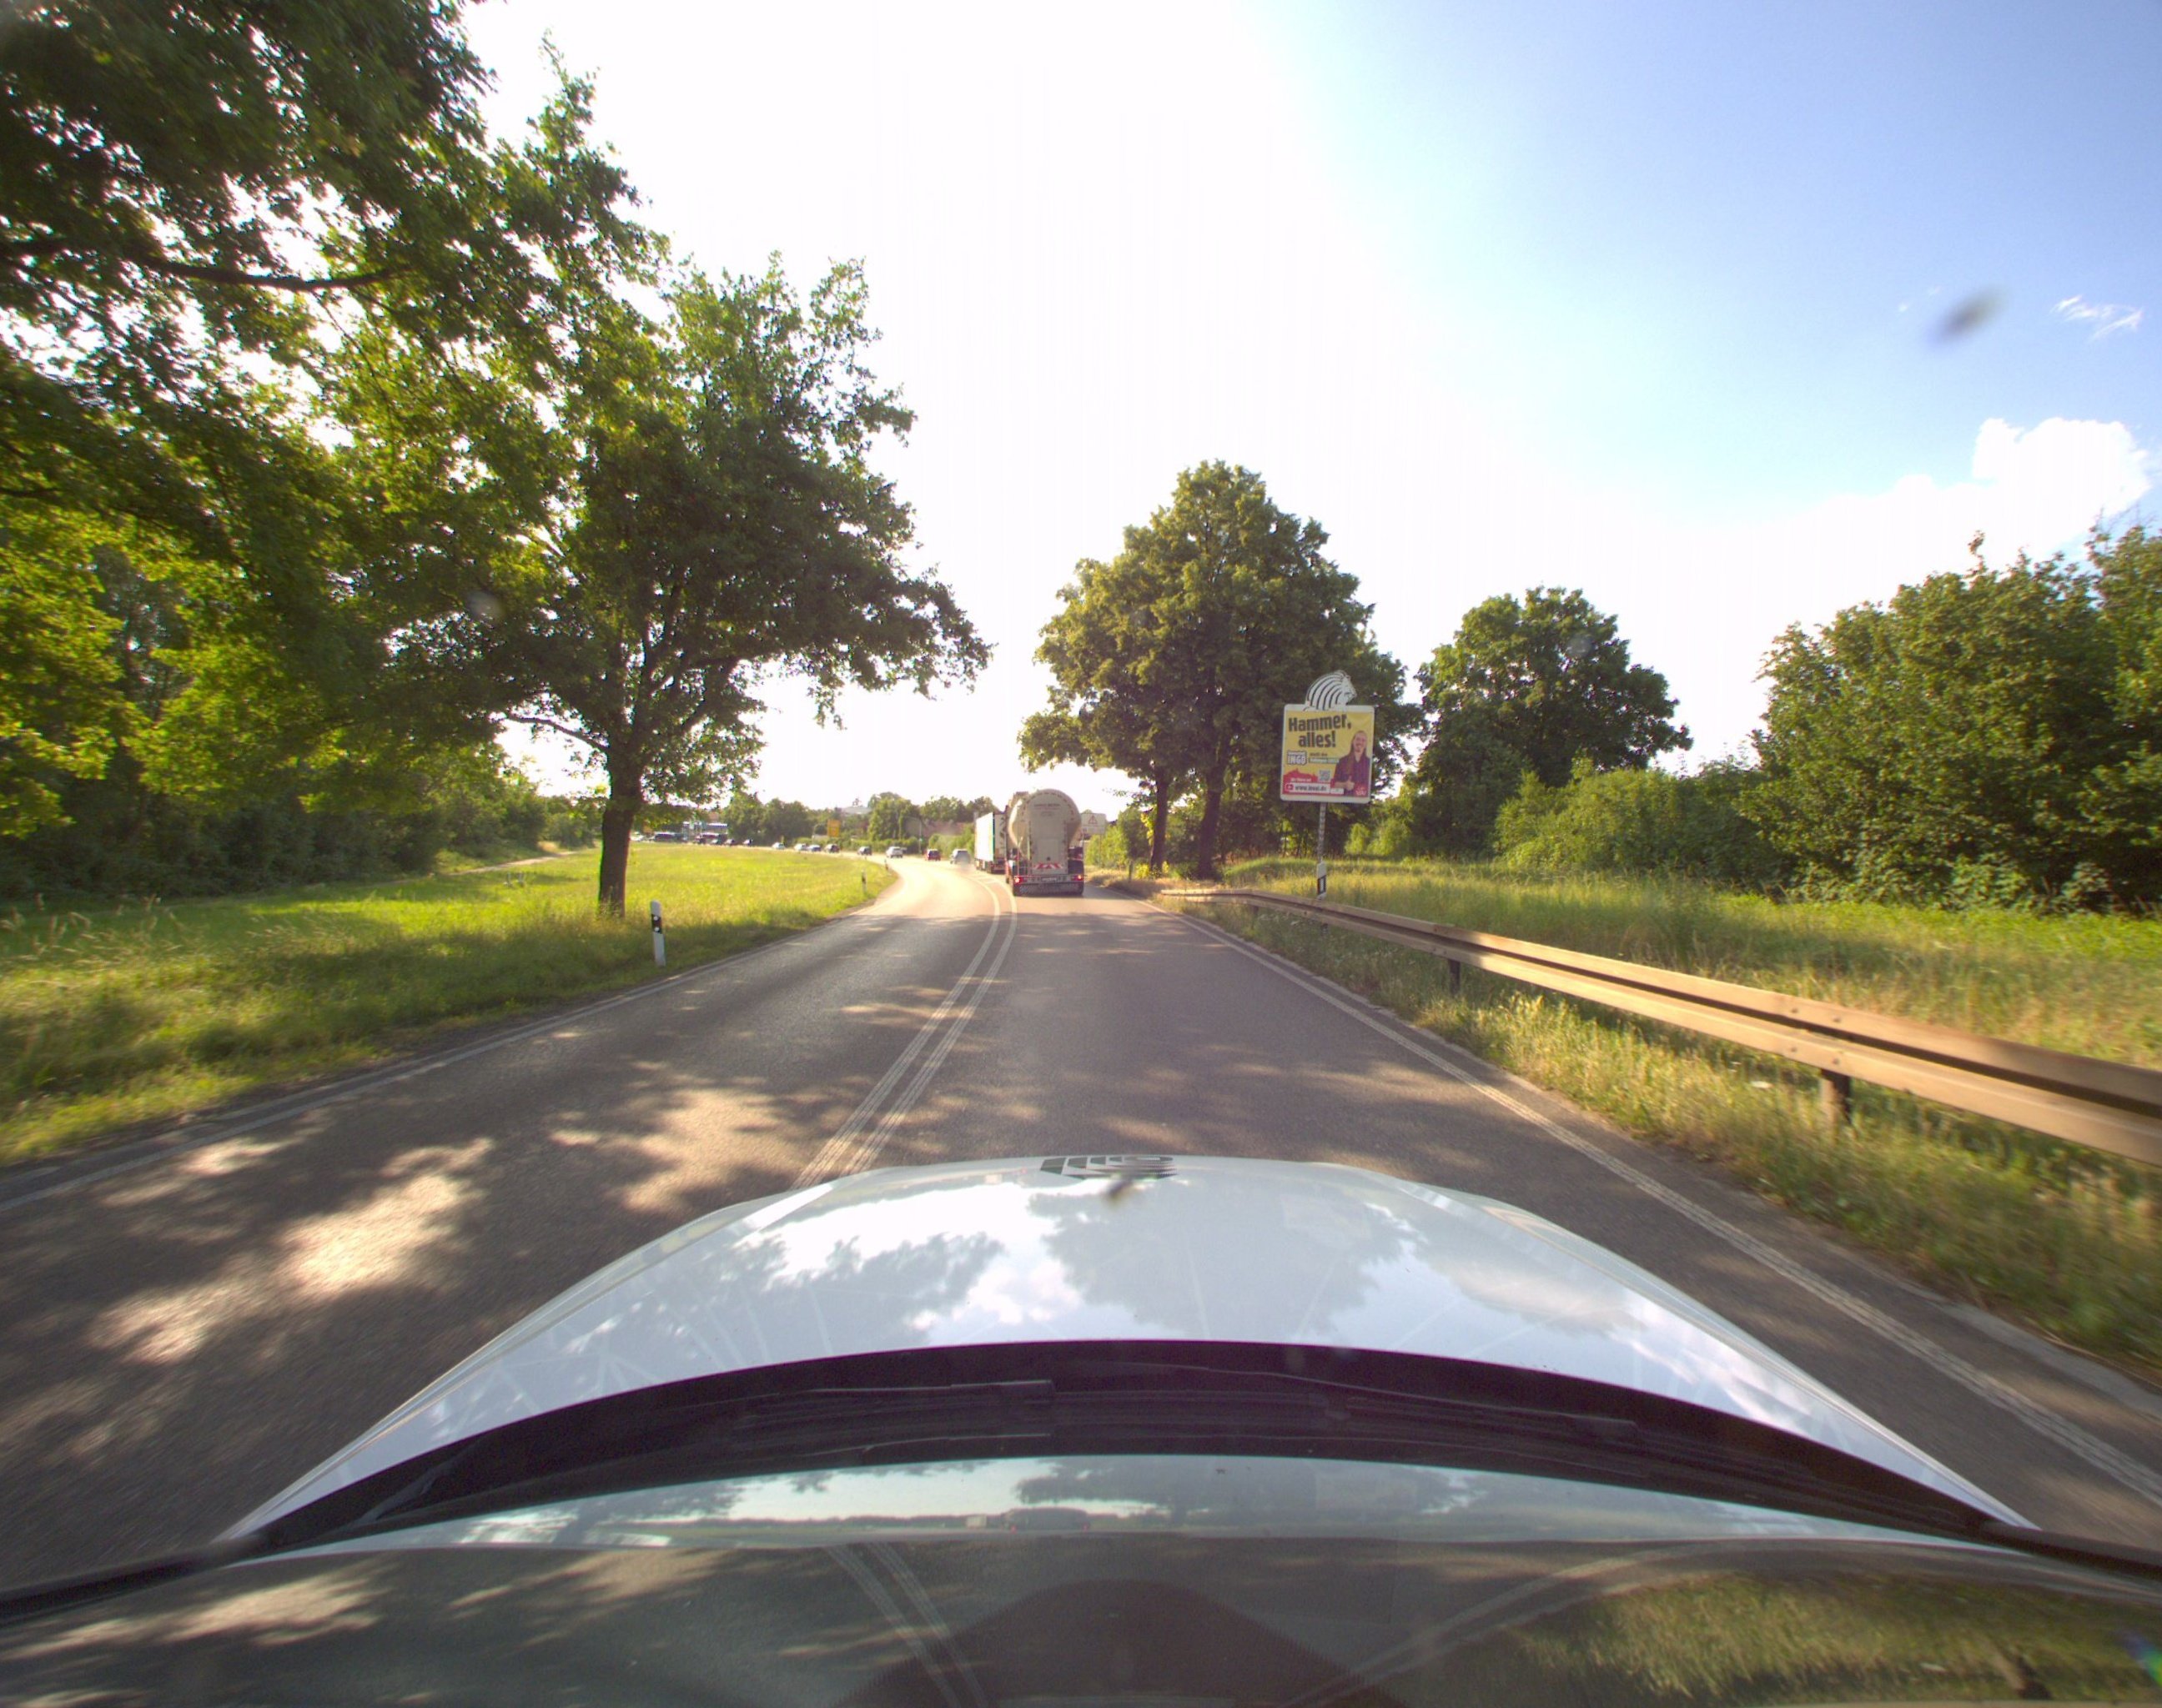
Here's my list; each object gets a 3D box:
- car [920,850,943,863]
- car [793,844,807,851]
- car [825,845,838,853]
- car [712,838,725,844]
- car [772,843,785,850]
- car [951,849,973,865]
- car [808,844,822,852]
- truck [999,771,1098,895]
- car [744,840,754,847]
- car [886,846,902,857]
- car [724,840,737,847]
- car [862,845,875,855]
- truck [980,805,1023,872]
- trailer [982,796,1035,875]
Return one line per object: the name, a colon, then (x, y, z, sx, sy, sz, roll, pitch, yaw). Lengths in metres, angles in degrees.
car: (-19.298, 0.330, 104.925, 2.306, 1.656, 4.387, 0, 0, -18)
car: (-60.901, -1.373, 176.502, 1.691, 1.559, 3.830, 0, -1, -36)
car: (-49.141, -0.950, 160.437, 1.529, 1.656, 3.834, 0, 0, -31)
car: (-95.750, -3.402, 215.067, 2.103, 1.599, 3.953, 0, 1, -40)
car: (-69.729, -1.775, 187.591, 1.991, 1.656, 3.830, 0, -1, -36)
car: (-12.872, 0.322, 88.084, 1.997, 1.656, 3.980, 0, 0, -14)
car: (-55.300, -1.233, 169.402, 1.691, 1.559, 3.830, 0, -1, -36)
truck: (-1.669, -0.672, 33.337, 2.974, 4.175, 11.630, 0, 0, -8)
car: (-84.143, -2.600, 206.452, 1.740, 1.656, 3.831, 0, -1, -35)
car: (-28.925, -0.353, 125.739, 1.848, 1.656, 3.971, 0, 0, -21)
car: (-89.232, -2.638, 207.439, 2.103, 1.599, 3.953, 0, 1, -40)
car: (-36.841, -0.689, 141.138, 1.527, 1.656, 3.840, 0, 0, -25)
truck: (-6.281, -1.142, 63.306, 2.962, 4.886, 6.411, 0, 0, -9)
trailer: (-5.132, -1.142, 55.903, 2.963, 4.882, 10.256, 0, 0, -9)
